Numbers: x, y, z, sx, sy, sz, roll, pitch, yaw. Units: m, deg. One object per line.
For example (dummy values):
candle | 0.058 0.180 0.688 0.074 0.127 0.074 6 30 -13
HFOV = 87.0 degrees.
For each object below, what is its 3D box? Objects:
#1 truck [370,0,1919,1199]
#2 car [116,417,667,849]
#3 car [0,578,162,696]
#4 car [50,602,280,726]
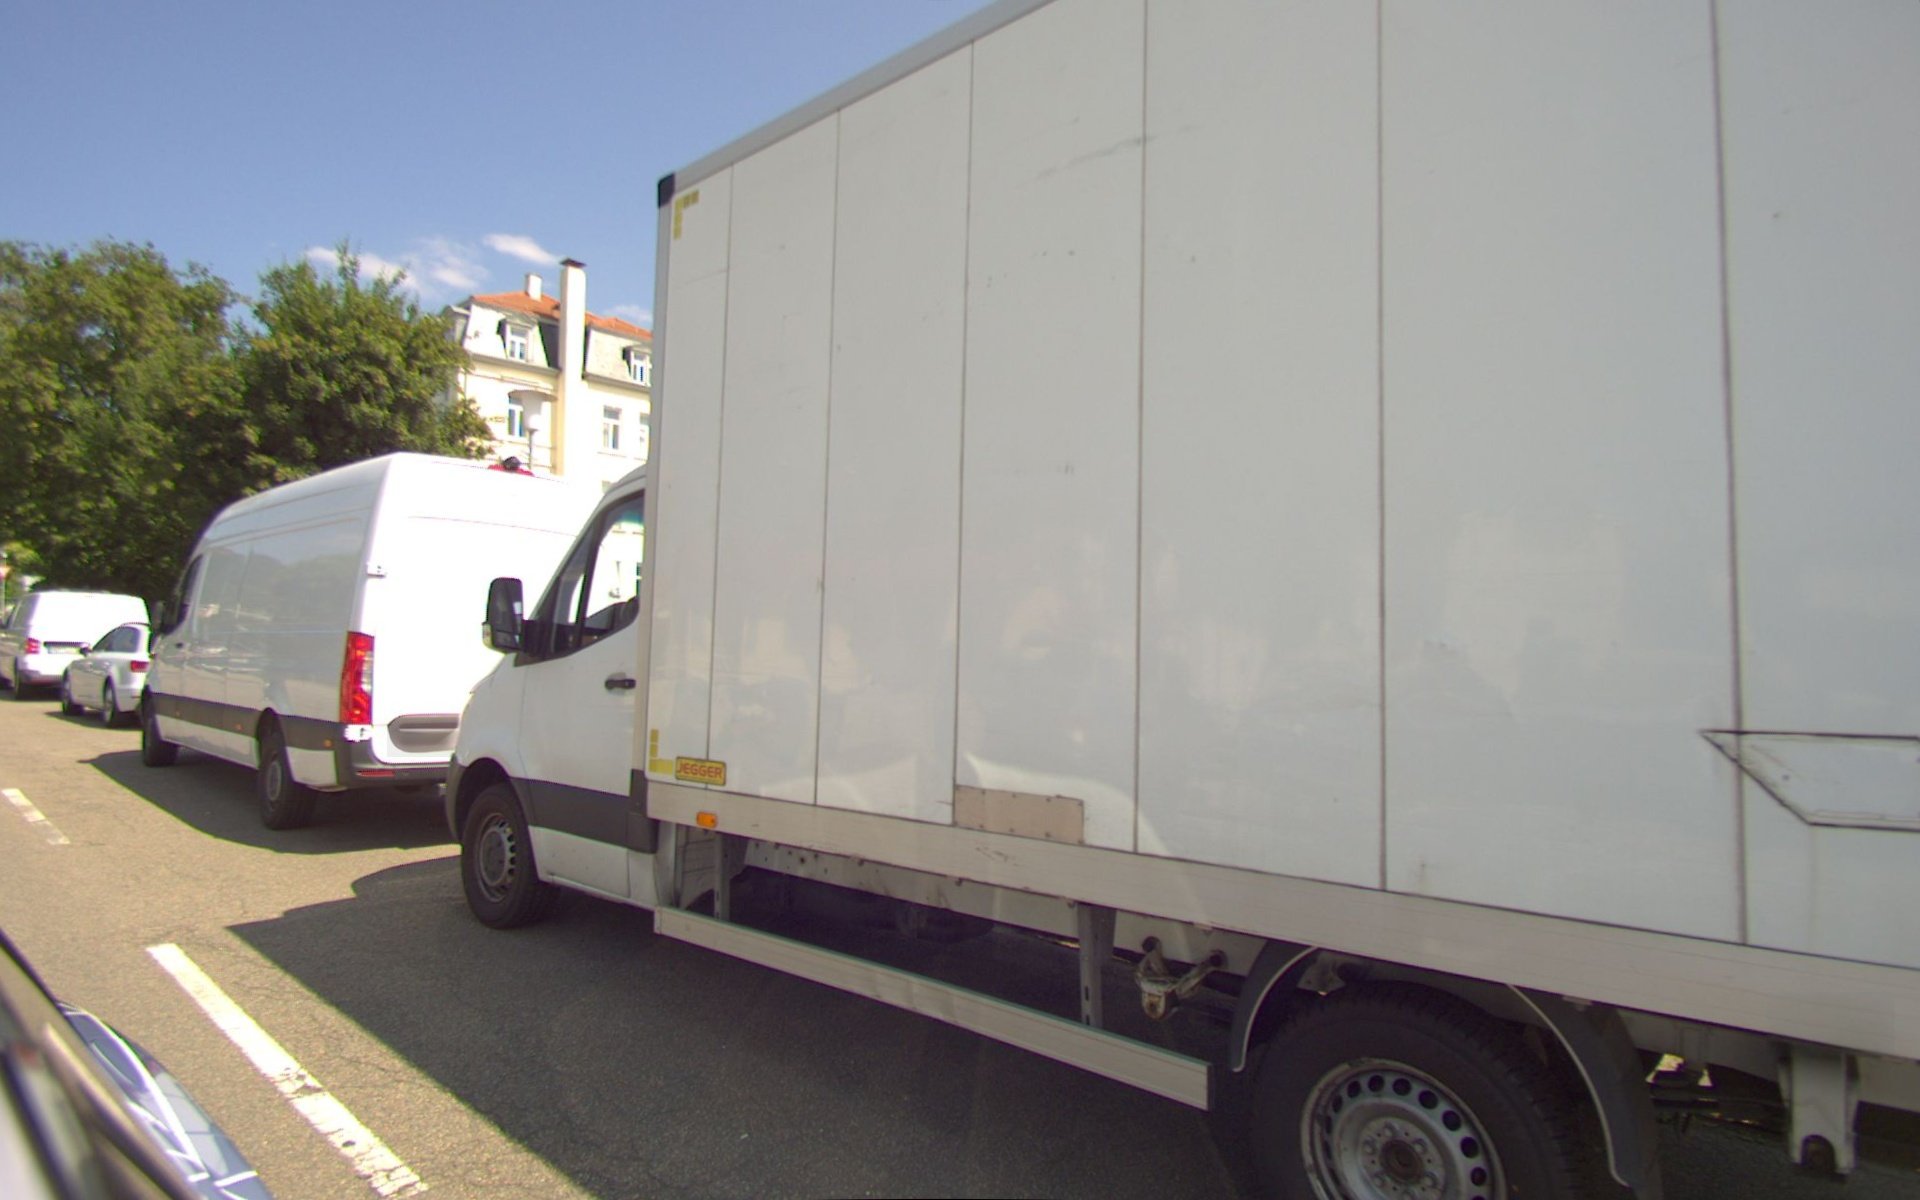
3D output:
truck | 0.391 -0.238 4.145 7.128 3.392 2.657 0 -2 42
car | -5.583 0.229 9.241 6.918 2.615 2.145 0 -3 42
car | -17.470 0.683 19.816 5.055 2.029 1.950 0 -3 42
car | -11.847 0.871 14.979 4.396 1.555 1.697 1 -3 39
